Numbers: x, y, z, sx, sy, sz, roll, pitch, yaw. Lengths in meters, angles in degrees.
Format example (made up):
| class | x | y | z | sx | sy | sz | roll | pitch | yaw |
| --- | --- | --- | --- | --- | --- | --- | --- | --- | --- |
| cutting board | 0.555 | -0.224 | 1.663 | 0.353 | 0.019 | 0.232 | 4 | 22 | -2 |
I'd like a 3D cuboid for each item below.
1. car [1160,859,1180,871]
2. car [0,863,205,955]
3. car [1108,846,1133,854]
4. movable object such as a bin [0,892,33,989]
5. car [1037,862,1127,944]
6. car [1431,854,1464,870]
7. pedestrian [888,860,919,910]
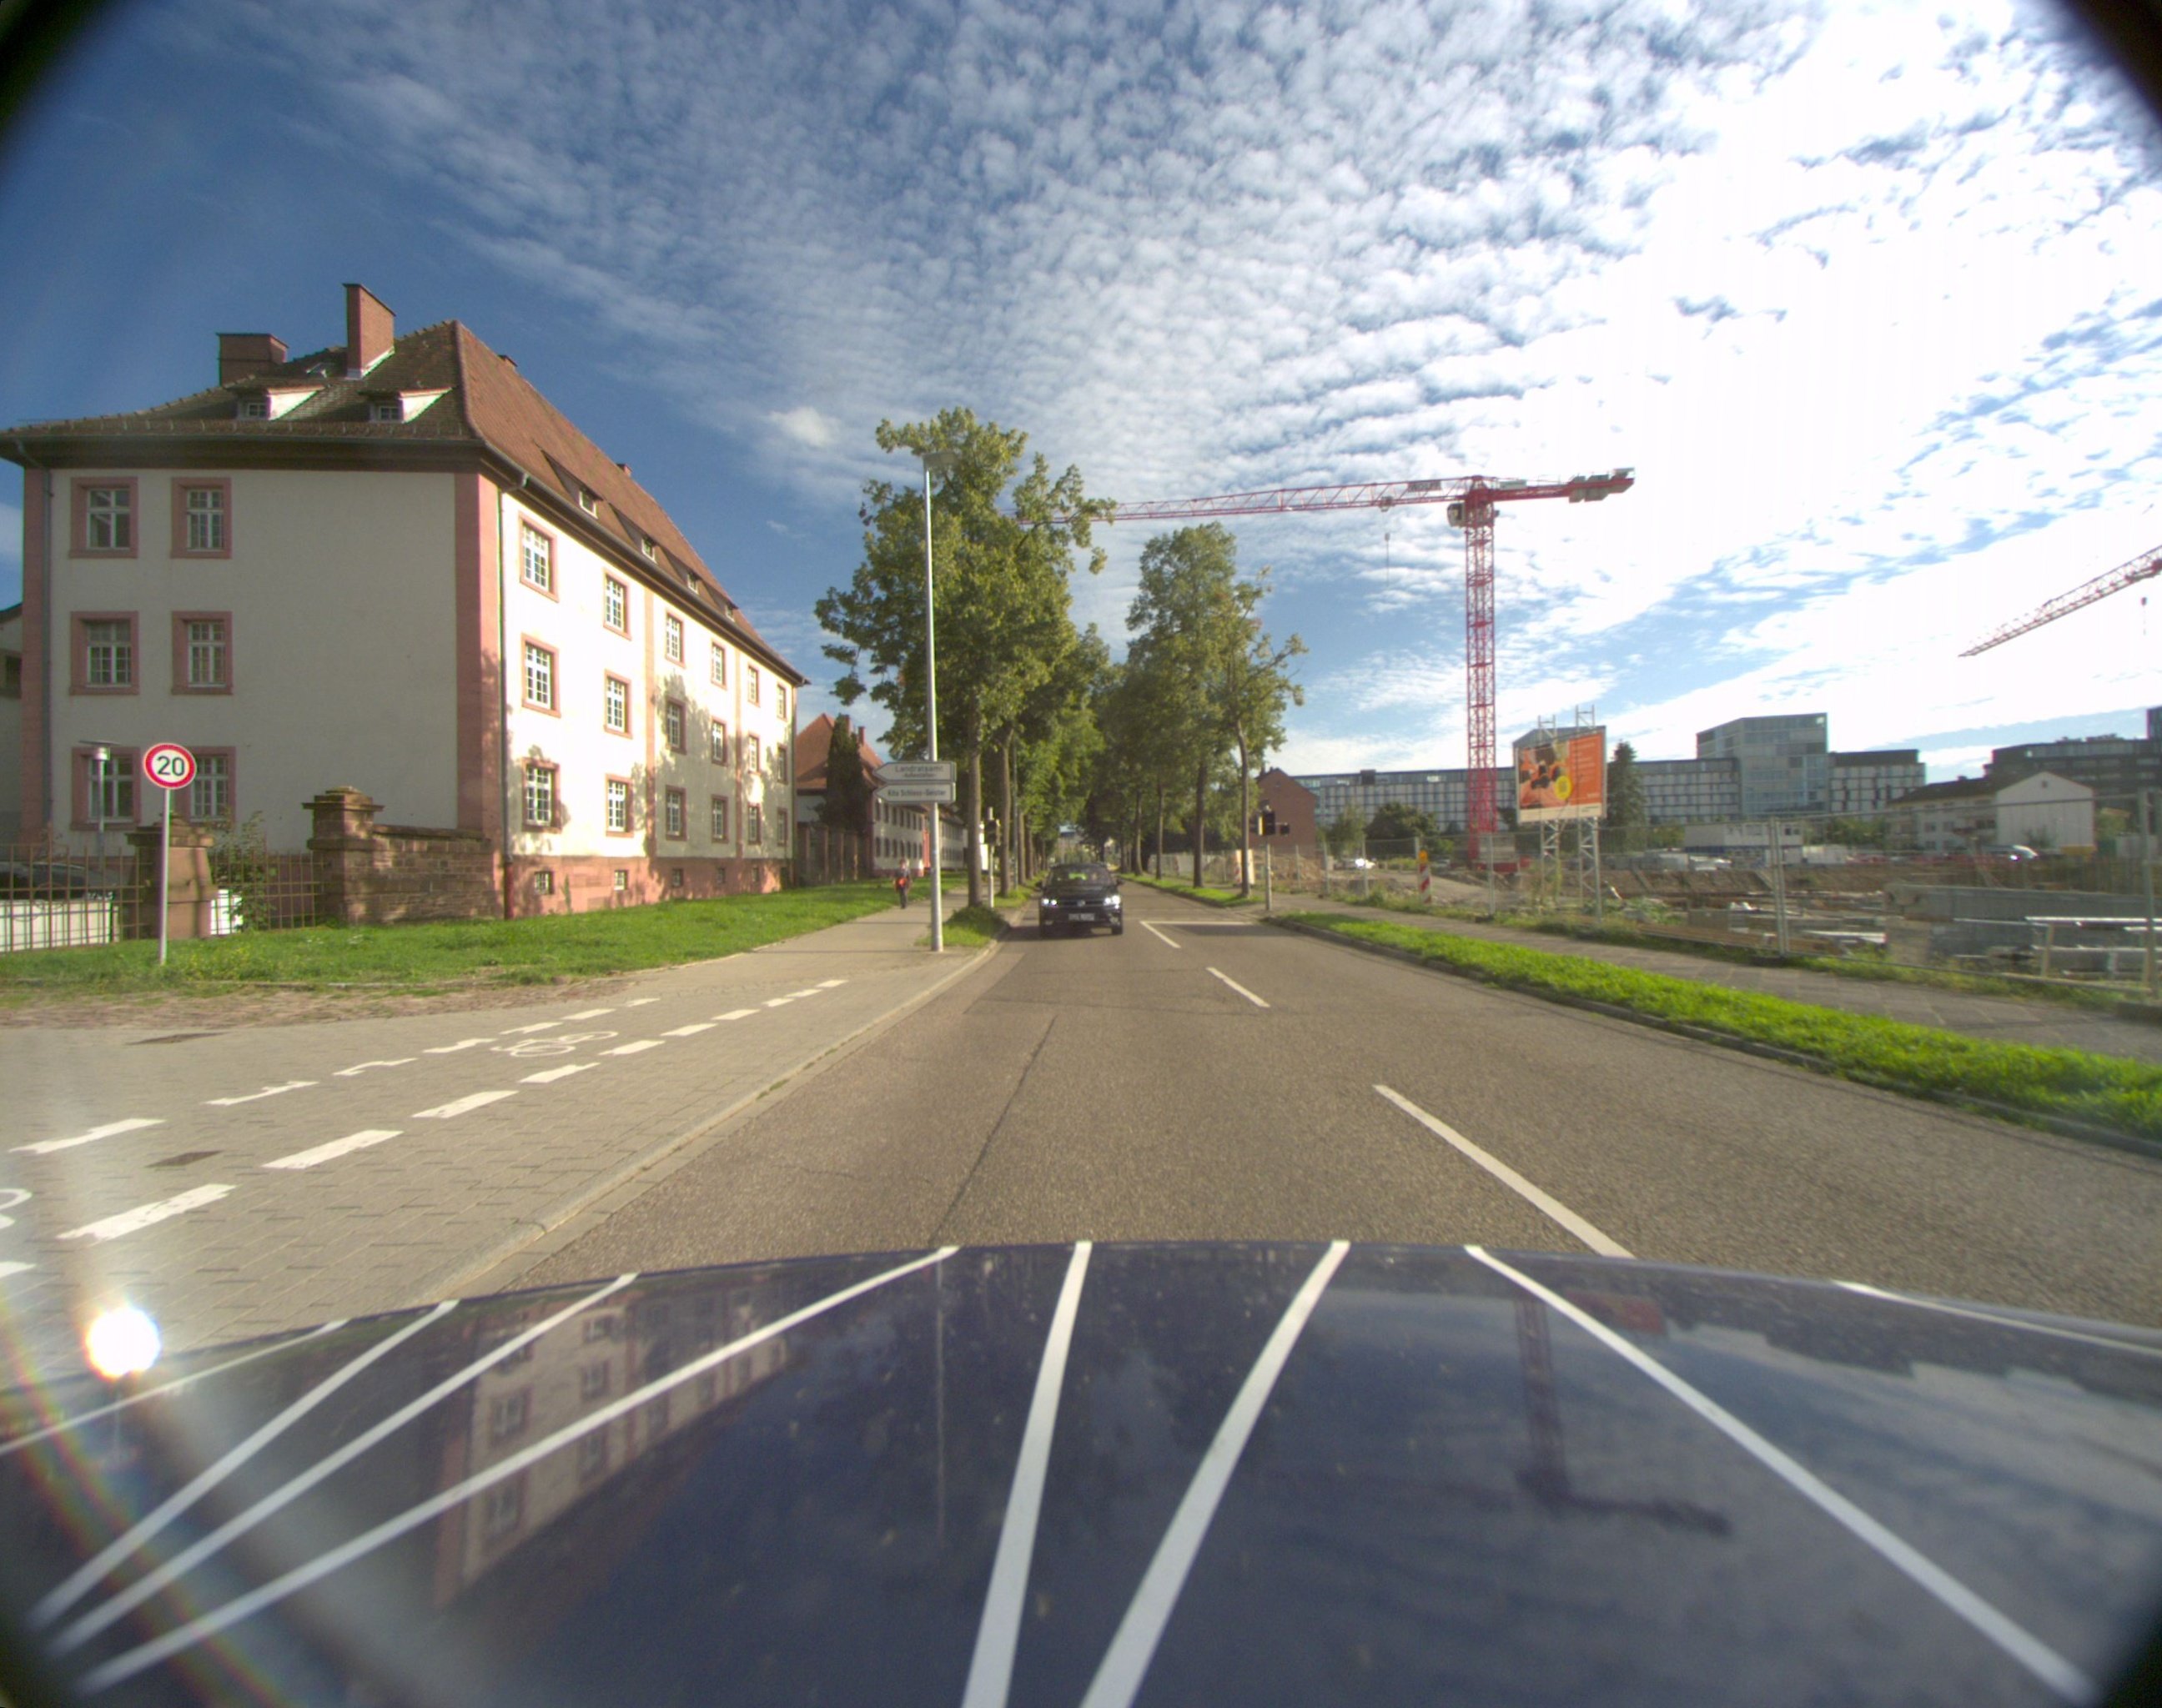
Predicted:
| class | x | y | z | sx | sy | sz | roll | pitch | yaw |
| --- | --- | --- | --- | --- | --- | --- | --- | --- | --- |
| car | 11.342 | 1.416 | 96.817 | 1.998 | 1.420 | 4.507 | 0 | 1 | 0 |
| car | -20.135 | 0.987 | 14.322 | 1.998 | 1.598 | 4.505 | 0 | 0 | 1 |
| car | 10.141 | -0.929 | 194.833 | 6.235 | 1.856 | 2.482 | -2 | 0 | 45 |
| movable object such as a bin | -17.083 | 1.328 | 11.077 | 1.417 | 1.451 | 1.543 | -1 | 0 | -5 |
| car | 0.014 | 1.049 | 18.004 | 1.821 | 1.648 | 4.243 | -2 | -1 | 0 |
| car | 46.016 | 1.025 | 95.504 | 1.818 | 1.797 | 3.981 | -2 | 1 | -7 |
| pedestrian | -5.752 | 0.995 | 24.689 | 0.816 | 1.581 | 0.769 | 2 | 0 | -3 |
